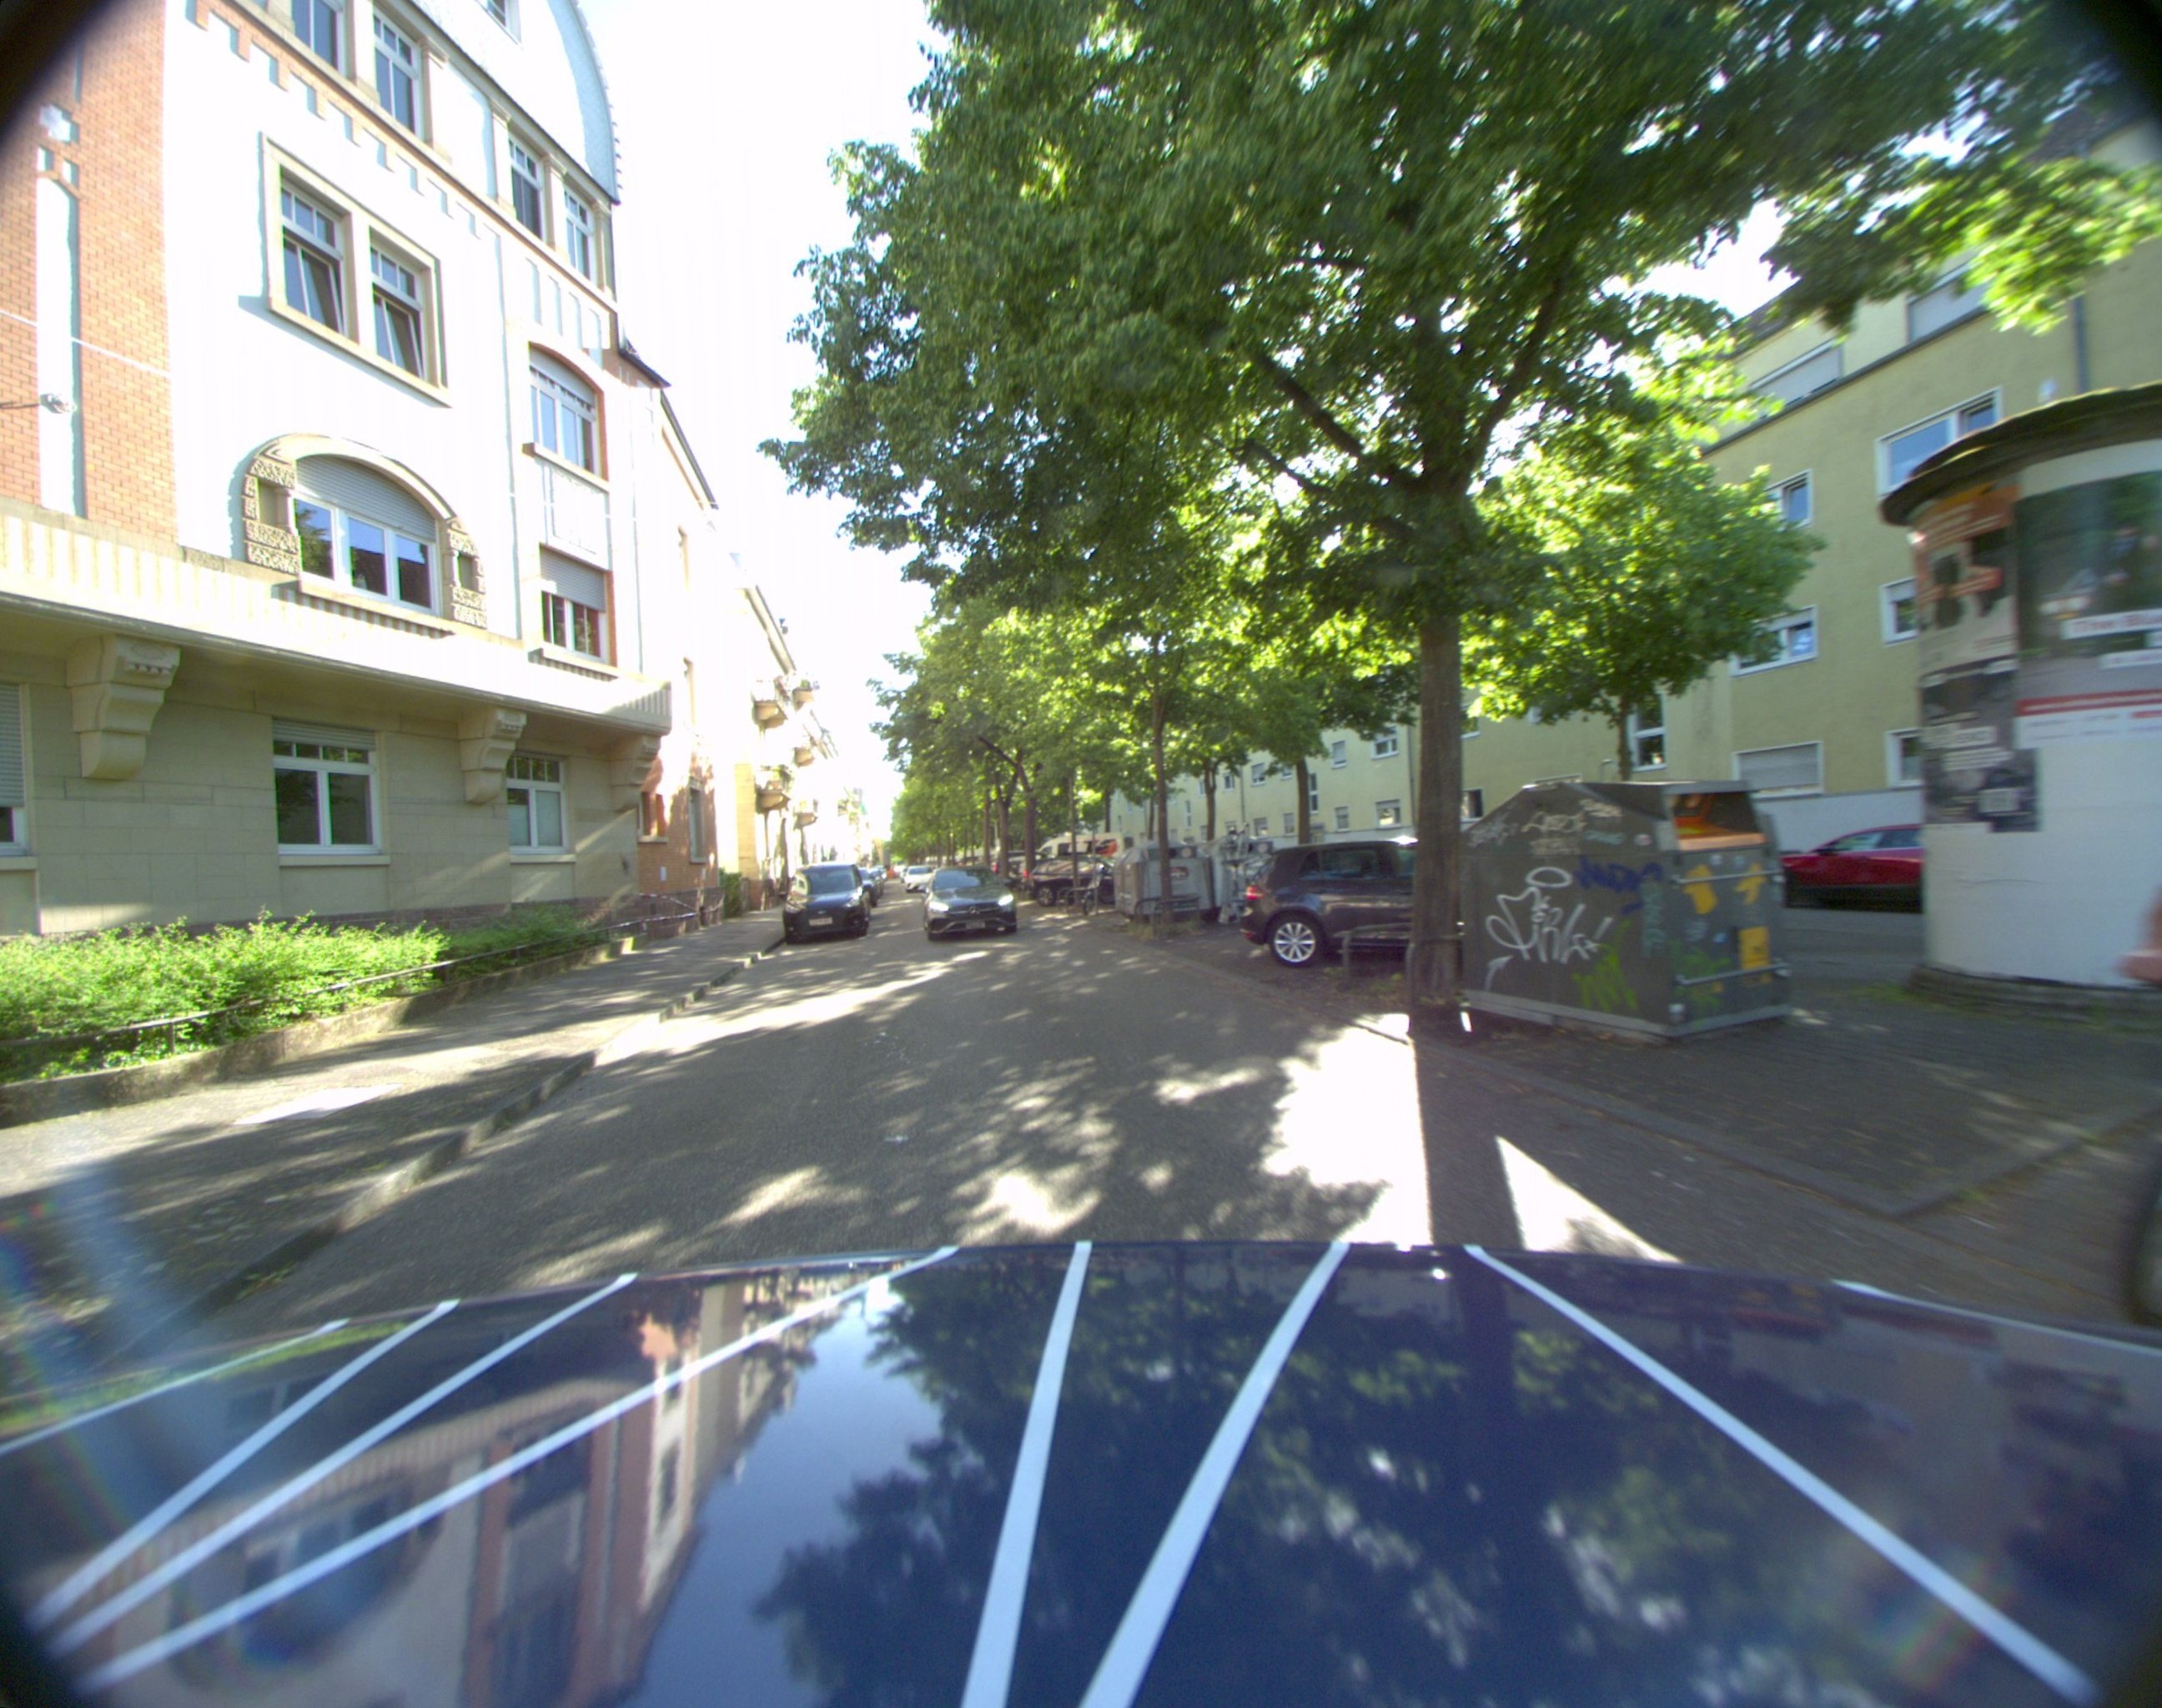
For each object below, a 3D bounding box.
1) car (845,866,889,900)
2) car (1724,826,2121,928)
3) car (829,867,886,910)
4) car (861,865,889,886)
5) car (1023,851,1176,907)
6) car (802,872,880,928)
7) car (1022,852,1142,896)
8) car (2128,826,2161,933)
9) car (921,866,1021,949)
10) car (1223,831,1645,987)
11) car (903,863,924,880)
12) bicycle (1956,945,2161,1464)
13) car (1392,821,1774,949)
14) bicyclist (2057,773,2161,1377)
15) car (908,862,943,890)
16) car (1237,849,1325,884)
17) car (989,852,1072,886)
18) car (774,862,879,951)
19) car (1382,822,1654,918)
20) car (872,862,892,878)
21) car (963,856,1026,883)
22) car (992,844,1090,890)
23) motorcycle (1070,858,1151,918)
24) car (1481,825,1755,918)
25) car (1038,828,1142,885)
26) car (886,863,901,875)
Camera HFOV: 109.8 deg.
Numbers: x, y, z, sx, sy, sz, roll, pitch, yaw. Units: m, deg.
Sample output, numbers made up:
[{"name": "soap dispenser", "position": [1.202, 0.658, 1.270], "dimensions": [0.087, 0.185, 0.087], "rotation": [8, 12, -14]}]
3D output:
[{"name": "car", "position": [-11.309, 1.507, 40.409], "dimensions": [1.798, 1.547, 4.205], "rotation": [-5, 0, -12]}, {"name": "car", "position": [14.371, 0.354, 13.434], "dimensions": [1.736, 1.430, 4.383], "rotation": [-3, 0, -14]}, {"name": "car", "position": [-9.353, 1.399, 32.076], "dimensions": [1.798, 1.547, 4.205], "rotation": [-5, 0, -12]}, {"name": "car", "position": [-17.147, 1.774, 63.404], "dimensions": [1.798, 1.547, 4.205], "rotation": [-5, 0, -12]}, {"name": "car", "position": [0.535, 0.730, 22.105], "dimensions": [3.990, 1.433, 1.826], "rotation": [-3, 0, 25]}, {"name": "car", "position": [-7.508, 1.378, 24.134], "dimensions": [1.798, 1.445, 4.205], "rotation": [-5, 0, -12]}, {"name": "car", "position": [0.024, 0.745, 28.211], "dimensions": [3.990, 1.444, 1.826], "rotation": [-3, 0, 25]}, {"name": "car", "position": [15.641, 0.281, 8.373], "dimensions": [1.733, 1.403, 4.485], "rotation": [-3, 0, -14]}, {"name": "car", "position": [-2.494, 1.030, 16.462], "dimensions": [1.798, 1.426, 4.205], "rotation": [-4, 0, -12]}, {"name": "car", "position": [3.869, 0.590, 8.795], "dimensions": [3.990, 1.464, 1.762], "rotation": [-3, 0, 27]}, {"name": "car", "position": [-15.873, 1.620, 71.926], "dimensions": [1.799, 1.427, 4.204], "rotation": [-5, 0, -14]}, {"name": "bicycle", "position": [3.564, 0.862, 1.978], "dimensions": [1.869, 1.191, 0.764], "rotation": [-3, 1, -8]}, {"name": "car", "position": [6.471, 0.426, 10.329], "dimensions": [3.990, 1.464, 1.762], "rotation": [-3, 0, 26]}, {"name": "bicyclist", "position": [3.410, 0.600, 1.955], "dimensions": [0.812, 1.686, 0.764], "rotation": [-3, 1, -8]}, {"name": "car", "position": [-9.073, 1.254, 44.410], "dimensions": [1.798, 1.426, 4.205], "rotation": [-4, 0, -12]}, {"name": "car", "position": [9.191, 0.549, 35.311], "dimensions": [2.044, 1.430, 4.383], "rotation": [-3, 0, -14]}, {"name": "car", "position": [-2.693, 0.788, 40.817], "dimensions": [3.990, 1.624, 1.826], "rotation": [-3, 0, 25]}, {"name": "car", "position": [-6.029, 1.151, 18.480], "dimensions": [1.798, 1.757, 4.205], "rotation": [-5, 0, -12]}, {"name": "car", "position": [7.900, 0.271, 13.949], "dimensions": [3.999, 1.464, 1.759], "rotation": [-3, 0, -6]}, {"name": "car", "position": [-21.741, 1.779, 83.272], "dimensions": [1.798, 1.547, 4.205], "rotation": [-5, 0, -12]}, {"name": "car", "position": [-6.111, 1.092, 53.986], "dimensions": [3.994, 1.677, 1.825], "rotation": [-3, 0, 11]}, {"name": "car", "position": [-1.808, 0.600, 34.400], "dimensions": [3.990, 1.887, 1.826], "rotation": [-3, 0, 25]}, {"name": "motorcycle", "position": [0.732, 0.809, 18.594], "dimensions": [1.803, 1.340, 0.726], "rotation": [-3, 0, -31]}, {"name": "car", "position": [10.687, 0.347, 15.639], "dimensions": [1.733, 1.619, 4.611], "rotation": [0, -1, -13]}, {"name": "car", "position": [0.447, 0.134, 37.095], "dimensions": [4.585, 2.476, 1.989], "rotation": [-3, 0, 20]}, {"name": "car", "position": [-26.438, 2.098, 107.044], "dimensions": [1.798, 1.547, 4.205], "rotation": [-5, 0, -12]}]
